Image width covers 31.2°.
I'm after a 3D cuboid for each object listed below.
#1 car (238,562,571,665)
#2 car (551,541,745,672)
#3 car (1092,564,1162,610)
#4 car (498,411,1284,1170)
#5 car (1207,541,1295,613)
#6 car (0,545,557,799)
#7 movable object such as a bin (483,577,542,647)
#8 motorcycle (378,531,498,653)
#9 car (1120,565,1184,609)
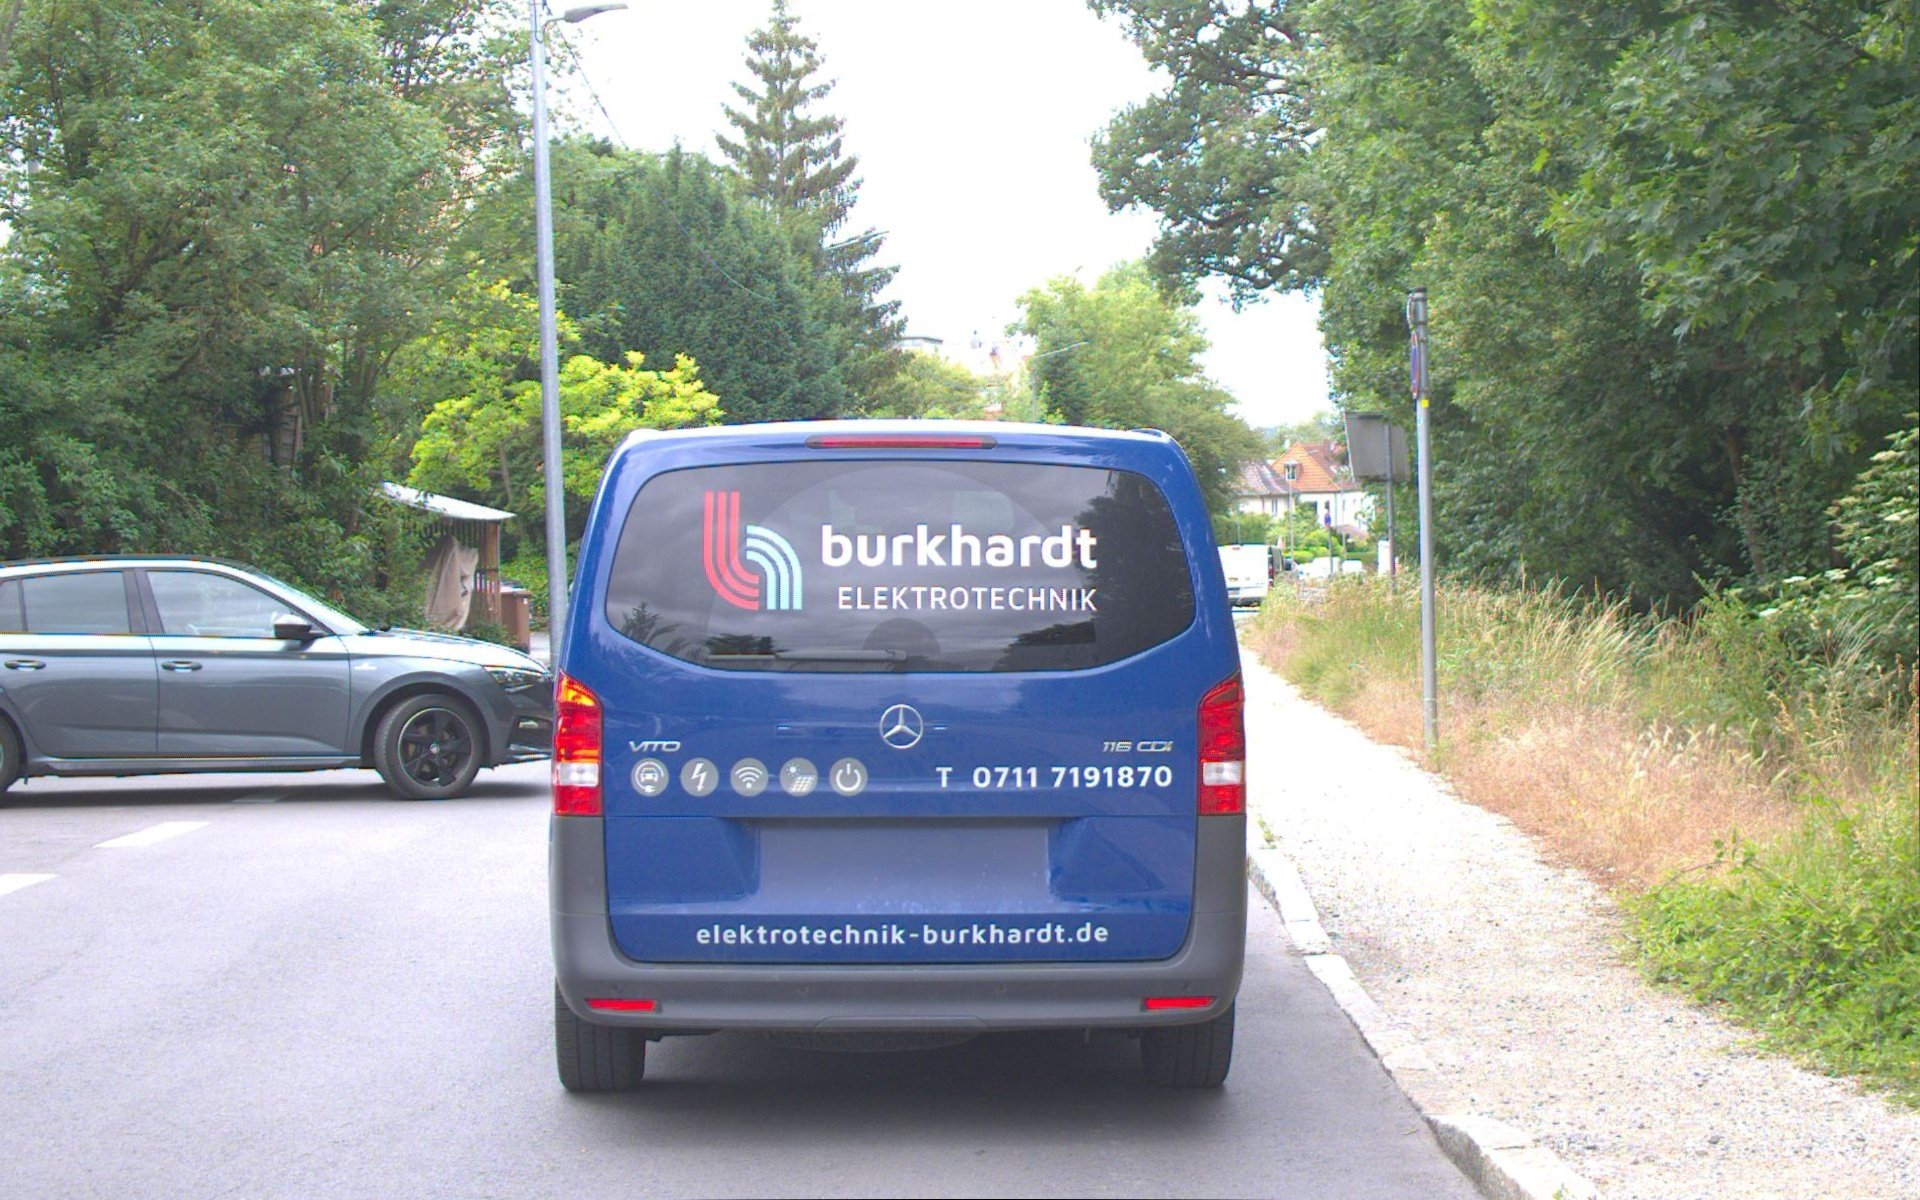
[{"bbox_3d":[-8.109,0.180,50.377,4.482,1.436,1.878,0,1,7],"label":"car"},{"bbox_3d":[-3.649,0.047,40.798,1.706,1.462,4.075,0,1,3],"label":"car"},{"bbox_3d":[5.296,-0.417,108.519,1.749,1.400,3.999,0,1,9],"label":"car"},{"bbox_3d":[-0.224,0.415,10.755,1.936,1.873,4.531,0,1,-1],"label":"car"},{"bbox_3d":[8.648,-0.714,101.734,2.206,2.056,6.133,0,1,8],"label":"car"},{"bbox_3d":[-4.557,0.398,20.534,4.165,1.442,1.741,0,1,-10],"label":"car"},{"bbox_3d":[-5.911,0.155,45.403,0.591,0.906,0.700,0,1,10],"label":"movable object such as a bin"},{"bbox_3d":[-6.555,-0.117,43.342,0.810,1.480,2.895,0,1,5],"label":"motorcycle"},{"bbox_3d":[6.436,-0.447,114.885,1.749,1.400,3.999,0,1,9],"label":"car"}]
